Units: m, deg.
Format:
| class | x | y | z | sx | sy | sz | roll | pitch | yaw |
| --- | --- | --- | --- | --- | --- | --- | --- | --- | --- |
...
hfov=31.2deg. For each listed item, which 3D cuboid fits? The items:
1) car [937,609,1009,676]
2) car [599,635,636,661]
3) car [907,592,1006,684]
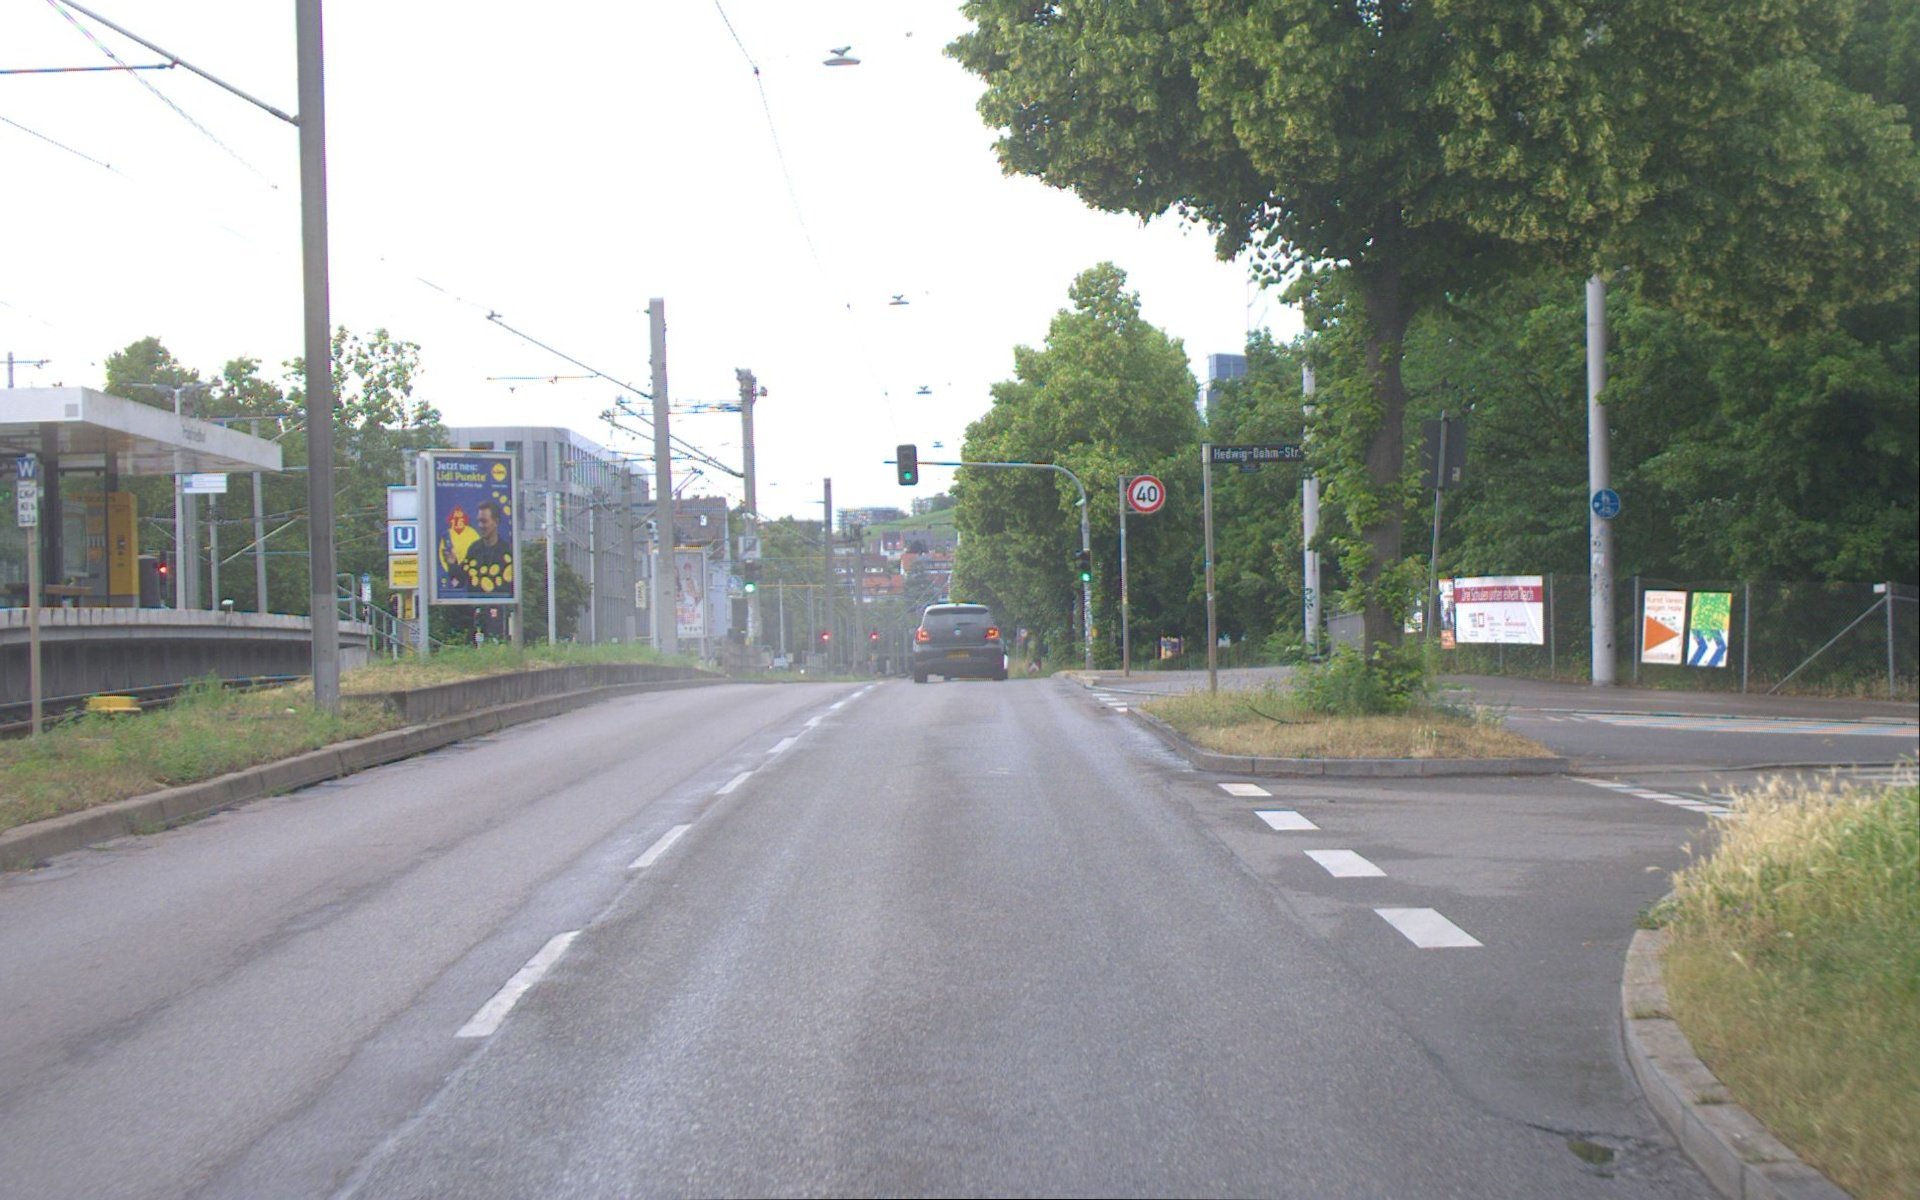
| class | x | y | z | sx | sy | sz | roll | pitch | yaw |
| --- | --- | --- | --- | --- | --- | --- | --- | --- | --- |
| car | 0.318 | 1.063 | 86.704 | 1.687 | 1.512 | 4.000 | -1 | 1 | -1 |
| car | -23.769 | 3.342 | 238.625 | 1.850 | 1.626 | 3.608 | 1 | 1 | 5 |
| car | -0.093 | 0.673 | 63.577 | 1.726 | 1.535 | 4.000 | -1 | 1 | -1 |
